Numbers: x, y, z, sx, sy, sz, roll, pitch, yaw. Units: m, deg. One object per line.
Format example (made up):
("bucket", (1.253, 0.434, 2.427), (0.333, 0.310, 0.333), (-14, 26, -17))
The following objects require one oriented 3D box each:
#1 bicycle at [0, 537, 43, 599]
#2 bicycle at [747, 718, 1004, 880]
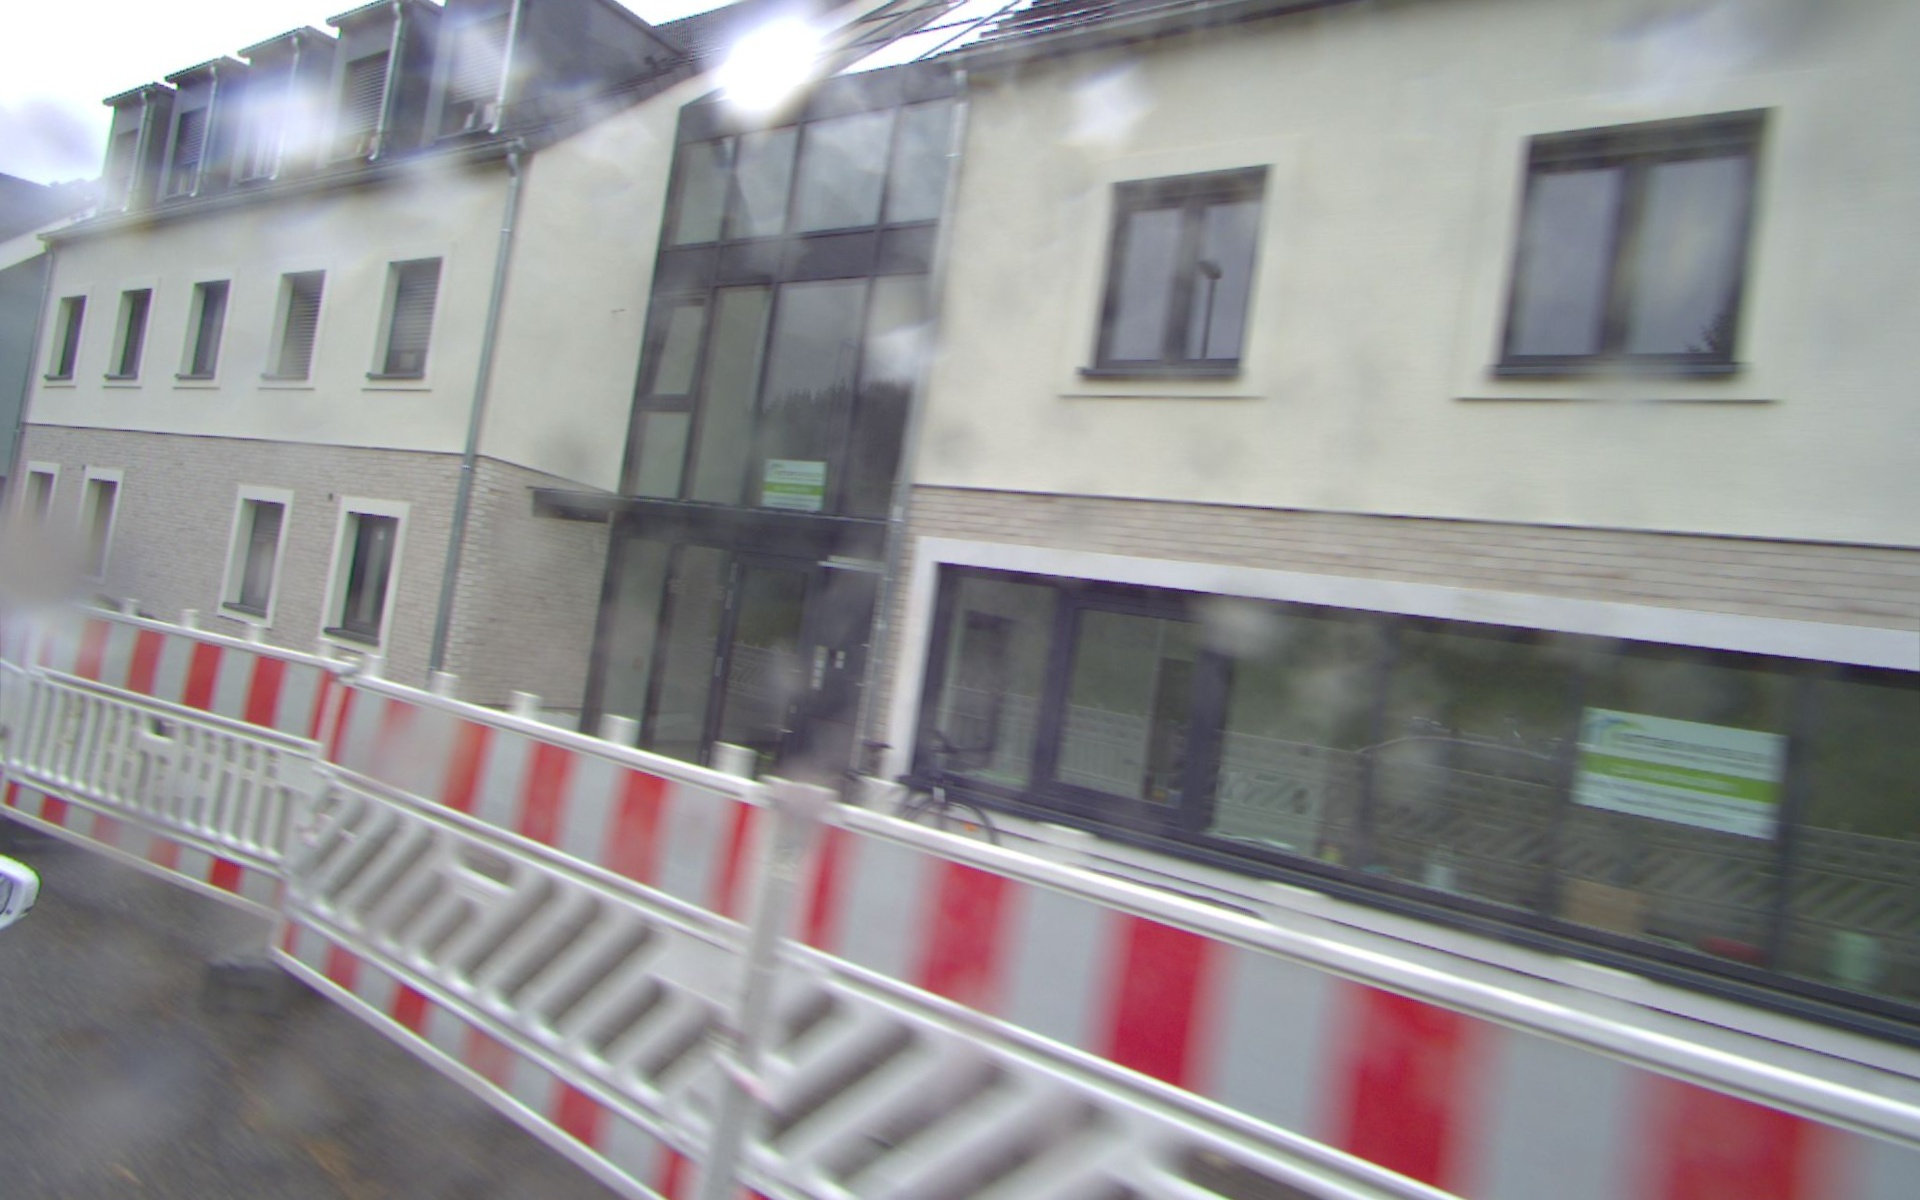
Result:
("bicycle", (-19.373, -0.687, 20.437), (1.760, 1.114, 0.519), (6, -4, 33))
("bicycle", (-0.606, 1.312, 6.878), (1.710, 0.706, 0.496), (7, 3, 29))
